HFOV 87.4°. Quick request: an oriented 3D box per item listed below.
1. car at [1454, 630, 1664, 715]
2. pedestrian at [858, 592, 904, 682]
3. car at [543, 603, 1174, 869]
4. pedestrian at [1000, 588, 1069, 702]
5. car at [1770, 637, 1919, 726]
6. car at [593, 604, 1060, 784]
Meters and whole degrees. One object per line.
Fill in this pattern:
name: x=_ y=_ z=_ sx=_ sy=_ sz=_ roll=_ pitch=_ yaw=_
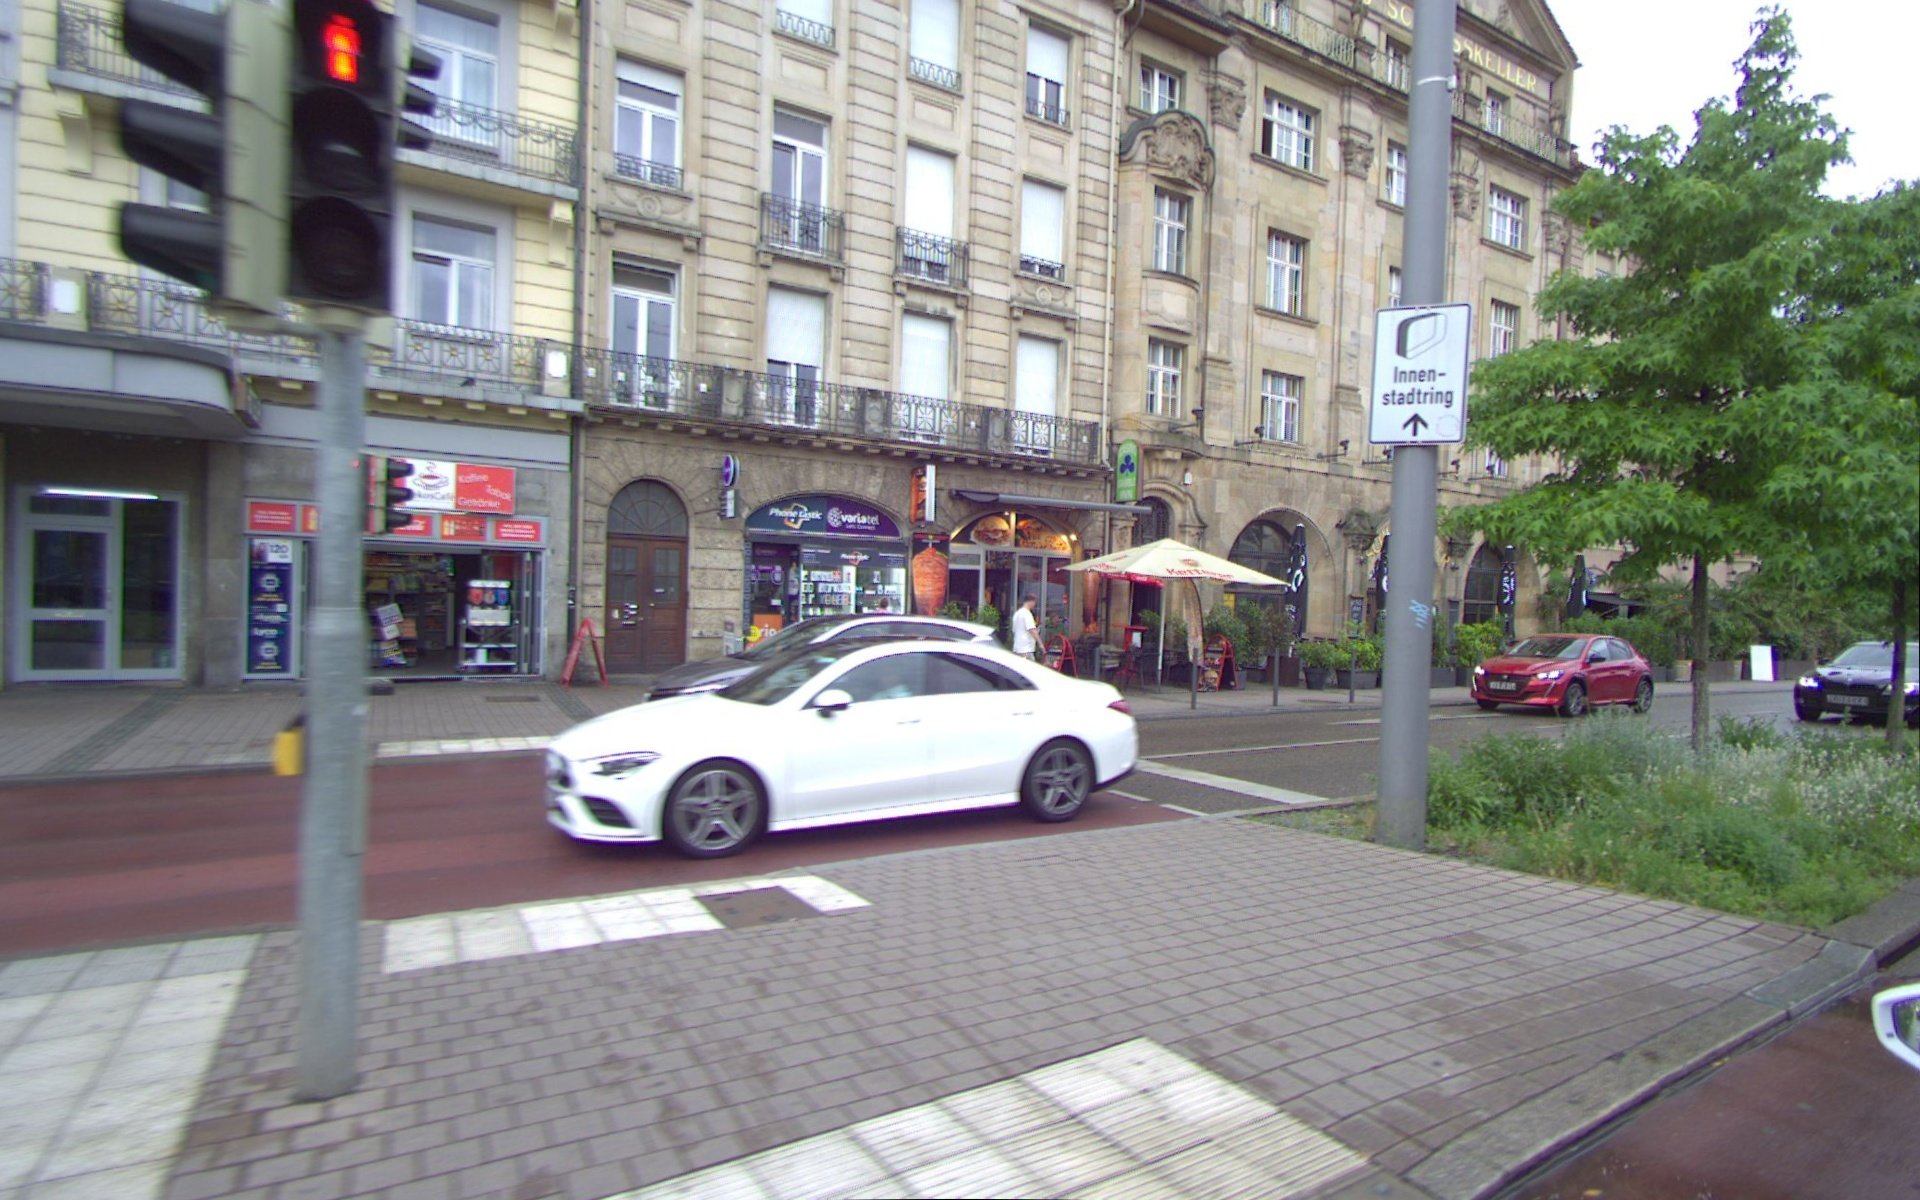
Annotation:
car: x=11.272 y=1.312 z=18.860 sx=3.907 sy=1.449 sz=1.739 roll=2 pitch=-2 yaw=-30
pedestrian: x=-1.520 y=0.707 z=19.384 sx=0.532 sy=1.686 sz=0.661 roll=2 pitch=2 yaw=-38
car: x=-0.704 y=0.894 z=7.957 sx=4.579 sy=1.564 sz=1.984 roll=2 pitch=-2 yaw=-30
pedestrian: x=1.233 y=0.738 z=16.718 sx=0.742 sy=1.837 sz=0.875 roll=2 pitch=-1 yaw=-30
car: x=16.582 y=1.413 z=18.178 sx=3.907 sy=1.449 sz=1.739 roll=2 pitch=-2 yaw=-30
car: x=-1.354 y=0.910 z=10.781 sx=4.579 sy=1.564 sz=1.984 roll=2 pitch=-2 yaw=-30
